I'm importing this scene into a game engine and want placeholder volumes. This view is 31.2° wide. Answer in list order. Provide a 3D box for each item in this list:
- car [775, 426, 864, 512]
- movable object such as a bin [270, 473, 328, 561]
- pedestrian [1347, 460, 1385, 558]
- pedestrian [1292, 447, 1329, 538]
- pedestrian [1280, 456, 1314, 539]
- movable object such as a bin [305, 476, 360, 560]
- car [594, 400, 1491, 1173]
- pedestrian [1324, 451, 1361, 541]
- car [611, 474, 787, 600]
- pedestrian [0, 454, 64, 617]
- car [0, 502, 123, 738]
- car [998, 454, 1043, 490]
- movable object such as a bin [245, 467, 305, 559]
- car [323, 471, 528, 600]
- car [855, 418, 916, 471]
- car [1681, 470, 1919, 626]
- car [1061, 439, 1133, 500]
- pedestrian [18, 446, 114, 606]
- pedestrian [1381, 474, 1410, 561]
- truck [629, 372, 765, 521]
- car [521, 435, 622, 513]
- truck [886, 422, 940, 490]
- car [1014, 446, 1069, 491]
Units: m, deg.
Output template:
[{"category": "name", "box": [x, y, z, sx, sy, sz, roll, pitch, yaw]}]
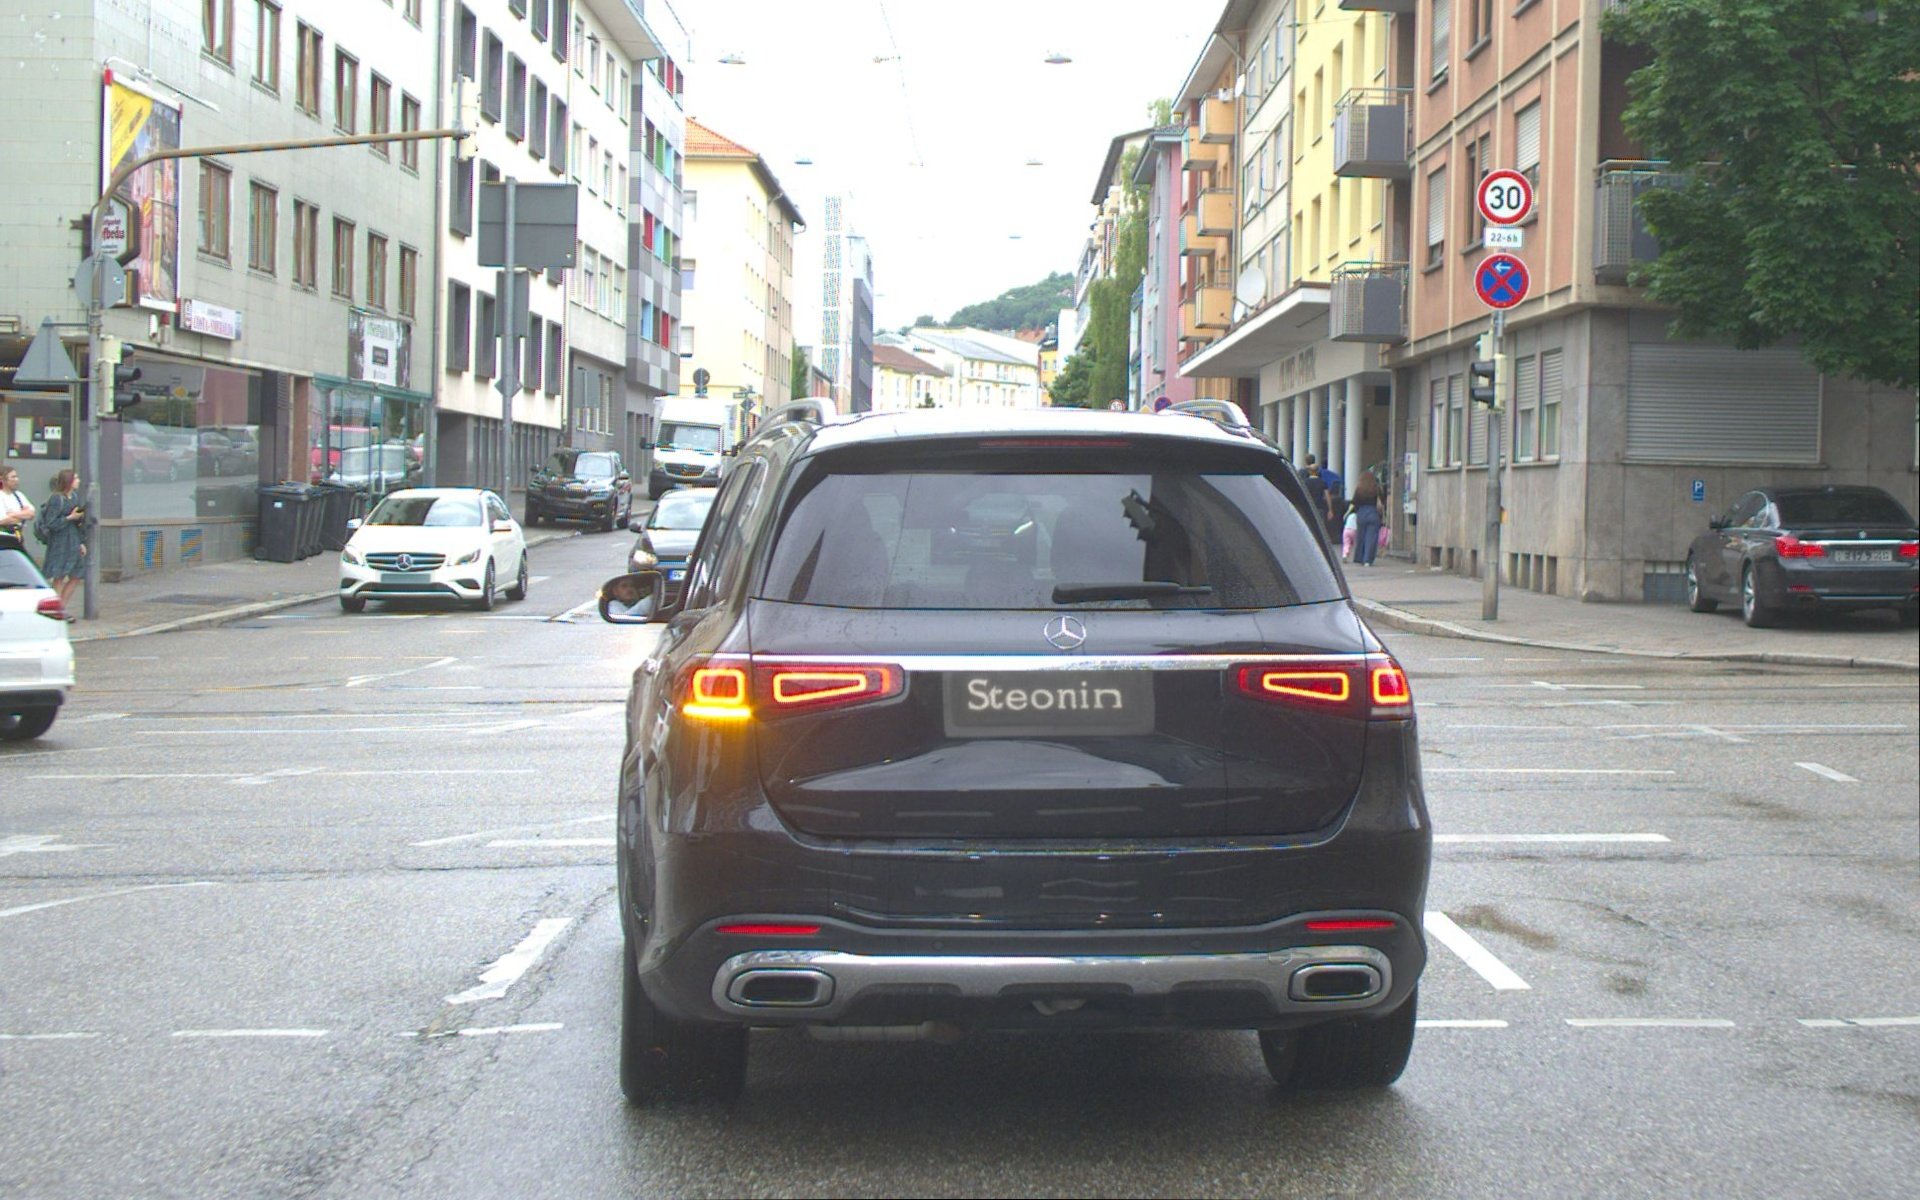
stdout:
[{"category": "car", "box": [-3.747, -3.496, 92.392, 2.065, 2.233, 4.620, 0, 1, 1]}, {"category": "movable object such as a bin", "box": [-10.095, -1.262, 52.538, 0.697, 1.311, 0.782, 2, 0, -1]}, {"category": "pedestrian", "box": [6.704, -1.507, 56.762, 0.479, 1.560, 0.558, 2, 5, 0]}, {"category": "pedestrian", "box": [6.111, -1.876, 59.956, 0.520, 1.533, 0.569, 2, 5, 0]}, {"category": "pedestrian", "box": [6.482, -1.976, 66.147, 0.520, 1.550, 0.569, 2, 5, 0]}, {"category": "movable object such as a bin", "box": [-10.085, -1.321, 55.274, 0.697, 1.311, 0.782, 2, 0, -1]}, {"category": "car", "box": [-0.007, 0.392, 10.154, 2.020, 1.733, 4.748, 1, 1, -5]}, {"category": "pedestrian", "box": [6.668, -1.813, 59.943, 0.520, 1.513, 0.569, 2, 5, 0]}, {"category": "car", "box": [-3.196, -0.808, 42.727, 1.844, 1.484, 4.000, 0, 2, 1]}, {"category": "pedestrian", "box": [-9.869, -0.678, 35.908, 0.708, 1.641, 0.759, 0, 5, -36]}, {"category": "car", "box": [-7.779, 0.115, 22.785, 4.373, 1.456, 1.833, 1, 3, 34]}, {"category": "car", "box": [2.979, -6.238, 167.913, 2.016, 1.557, 4.000, 2, 0, 3]}, {"category": "movable object such as a bin", "box": [-10.095, -1.274, 50.677, 0.697, 1.311, 0.782, 2, 0, -1]}, {"category": "car", "box": [-6.489, -0.813, 42.093, 1.844, 1.507, 4.000, 0, 2, 1]}, {"category": "car", "box": [-2.443, -5.120, 113.421, 1.844, 1.668, 4.000, 0, 1, 1]}, {"category": "car", "box": [9.099, -0.593, 36.854, 1.844, 1.549, 4.796, 0, 2, 2]}, {"category": "car", "box": [4.084, -3.860, 102.106, 2.016, 1.557, 5.154, 2, 1, 3]}, {"category": "pedestrian", "box": [-9.547, -0.791, 36.692, 0.708, 1.641, 0.759, 0, 5, -36]}, {"category": "pedestrian", "box": [7.191, -1.369, 56.817, 0.363, 1.394, 0.370, 2, 5, 0]}, {"category": "truck", "box": [-7.378, -4.266, 97.572, 2.807, 3.819, 8.144, 2, 0, 2]}, {"category": "car", "box": [-8.218, -2.649, 73.056, 1.723, 1.597, 4.000, 0, 1, 0]}, {"category": "truck", "box": [-2.846, -8.839, 211.790, 2.807, 3.819, 8.144, 2, 0, 2]}, {"category": "car", "box": [3.199, -5.124, 134.047, 2.016, 1.557, 4.000, 2, 0, 3]}]
